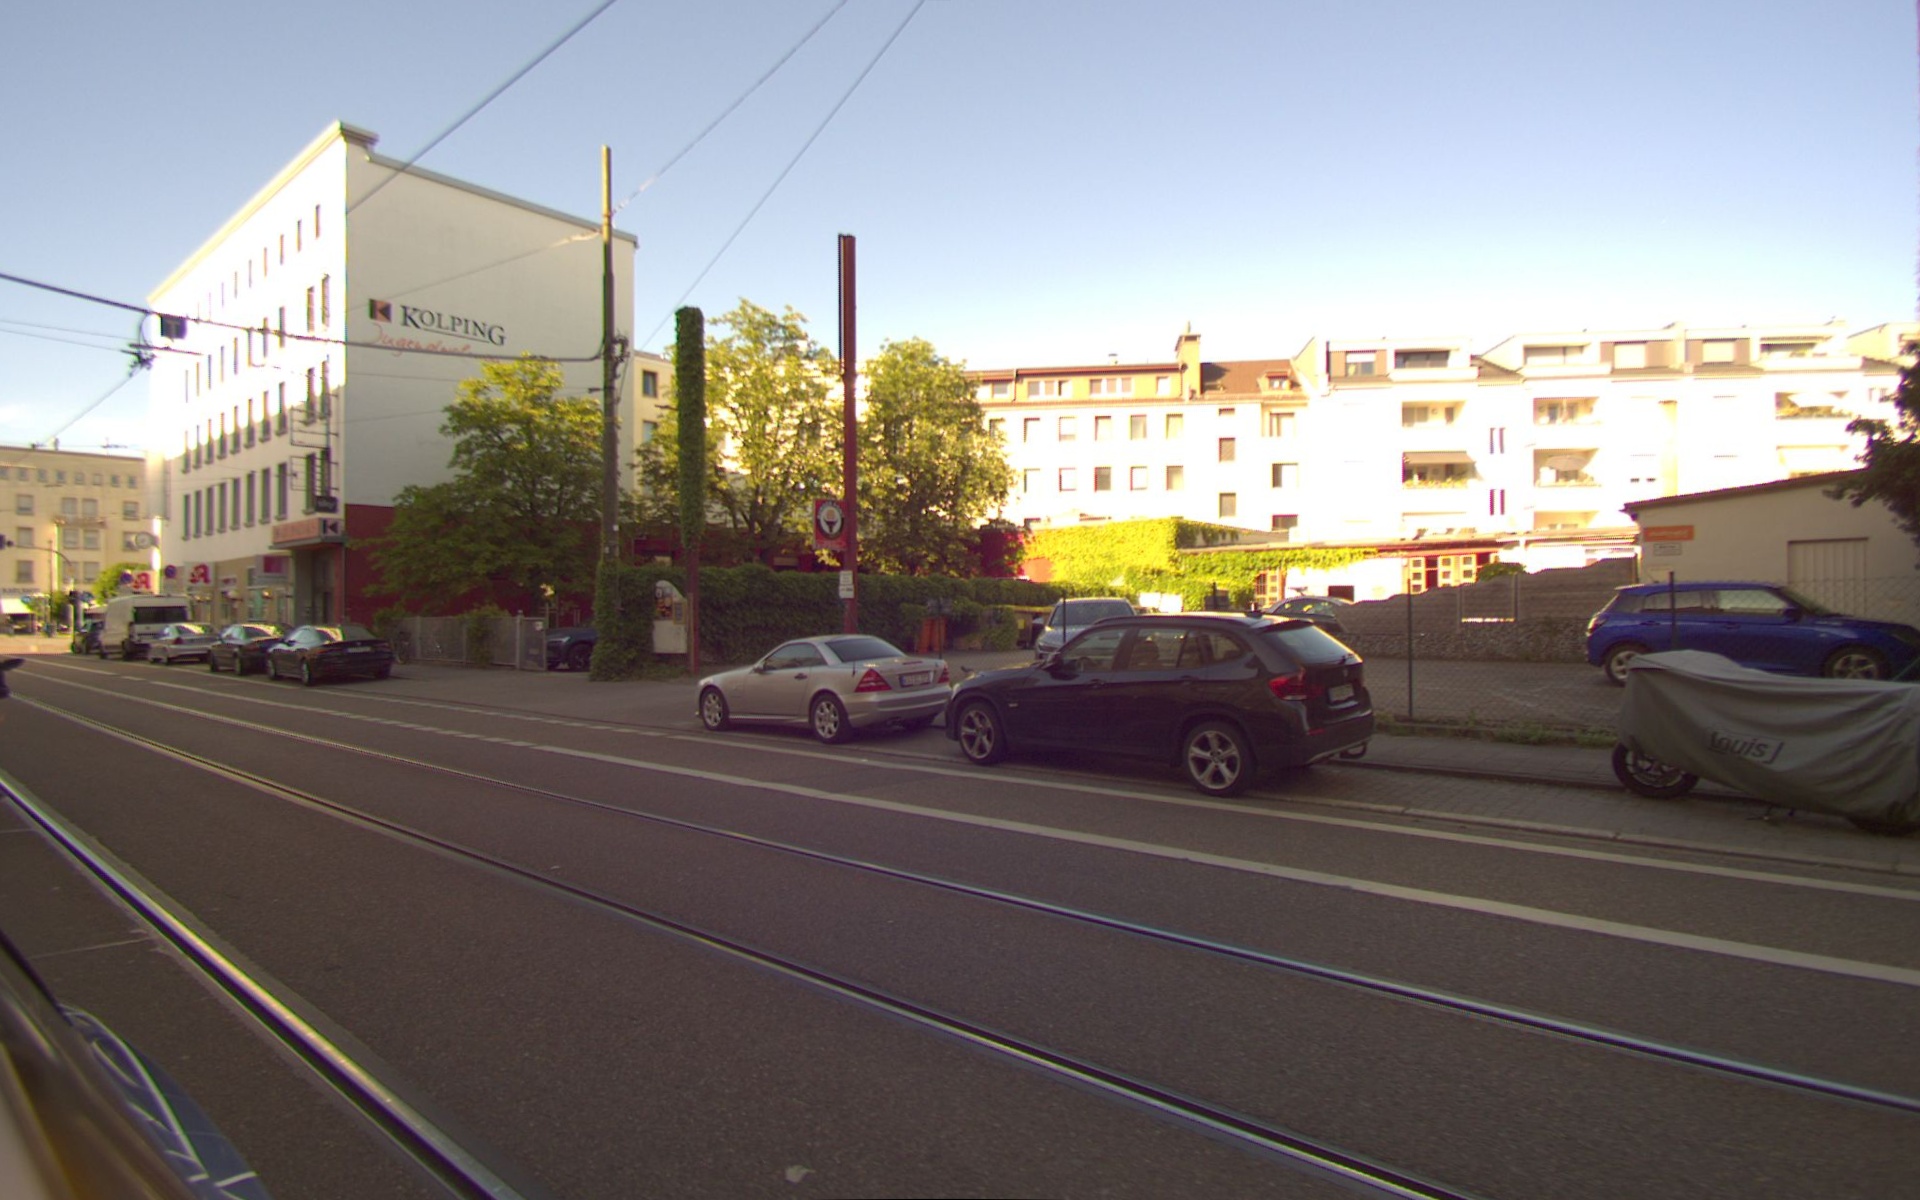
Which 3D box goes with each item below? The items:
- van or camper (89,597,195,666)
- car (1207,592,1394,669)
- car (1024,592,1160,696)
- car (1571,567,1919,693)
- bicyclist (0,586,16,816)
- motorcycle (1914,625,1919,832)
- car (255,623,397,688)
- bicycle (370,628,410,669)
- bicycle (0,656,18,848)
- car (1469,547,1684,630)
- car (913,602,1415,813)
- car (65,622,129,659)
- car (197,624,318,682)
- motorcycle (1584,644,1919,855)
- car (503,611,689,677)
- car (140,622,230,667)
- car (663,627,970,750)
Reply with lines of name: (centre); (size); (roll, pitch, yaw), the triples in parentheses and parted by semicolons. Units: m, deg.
van or camper: (-32.580, 1.213, 40.234); (6.228, 2.486, 2.150); (-1, 1, 40)
car: (8.370, 0.723, 25.046); (3.998, 1.763, 1.778); (-1, -1, 42)
car: (2.244, 0.675, 17.295); (1.976, 1.529, 4.785); (-1, -1, 8)
car: (10.951, 0.398, 14.119); (3.907, 1.537, 1.734); (-1, -1, 42)
bicyclist: (-7.030, 0.689, 6.939); (0.939, 1.552, 0.764); (-1, -1, 44)
motorcycle: (7.003, 0.830, 5.848); (0.871, 1.361, 1.963); (-1, -1, -17)
car: (-16.292, 1.352, 25.900); (4.839, 1.456, 1.765); (-1, 1, 41)
bicycle: (-17.191, 1.440, 30.506); (2.050, 1.183, 0.435); (-1, -1, 42)
bicycle: (-7.079, 1.017, 6.967); (1.752, 1.208, 0.757); (-1, -1, 43)
car: (14.267, -0.209, 23.535); (3.998, 1.763, 1.778); (-1, -1, 42)
car: (1.790, 0.863, 10.005); (4.610, 1.577, 1.764); (-1, 1, 43)
car: (-39.982, 1.830, 46.866); (3.992, 1.564, 1.764); (-1, 1, 42)
car: (-20.617, 1.485, 29.614); (4.696, 1.492, 1.765); (-1, 1, 41)
motorcycle: (5.707, 0.942, 7.187); (0.729, 1.180, 2.187); (-1, -1, -19)
car: (-9.810, 1.132, 27.508); (2.000, 1.609, 4.315); (-1, -1, 42)
car: (-27.390, 1.536, 35.717); (4.444, 1.409, 1.764); (-1, 1, 42)
car: (-2.045, 1.069, 13.664); (4.219, 1.323, 1.765); (-1, 1, 41)
